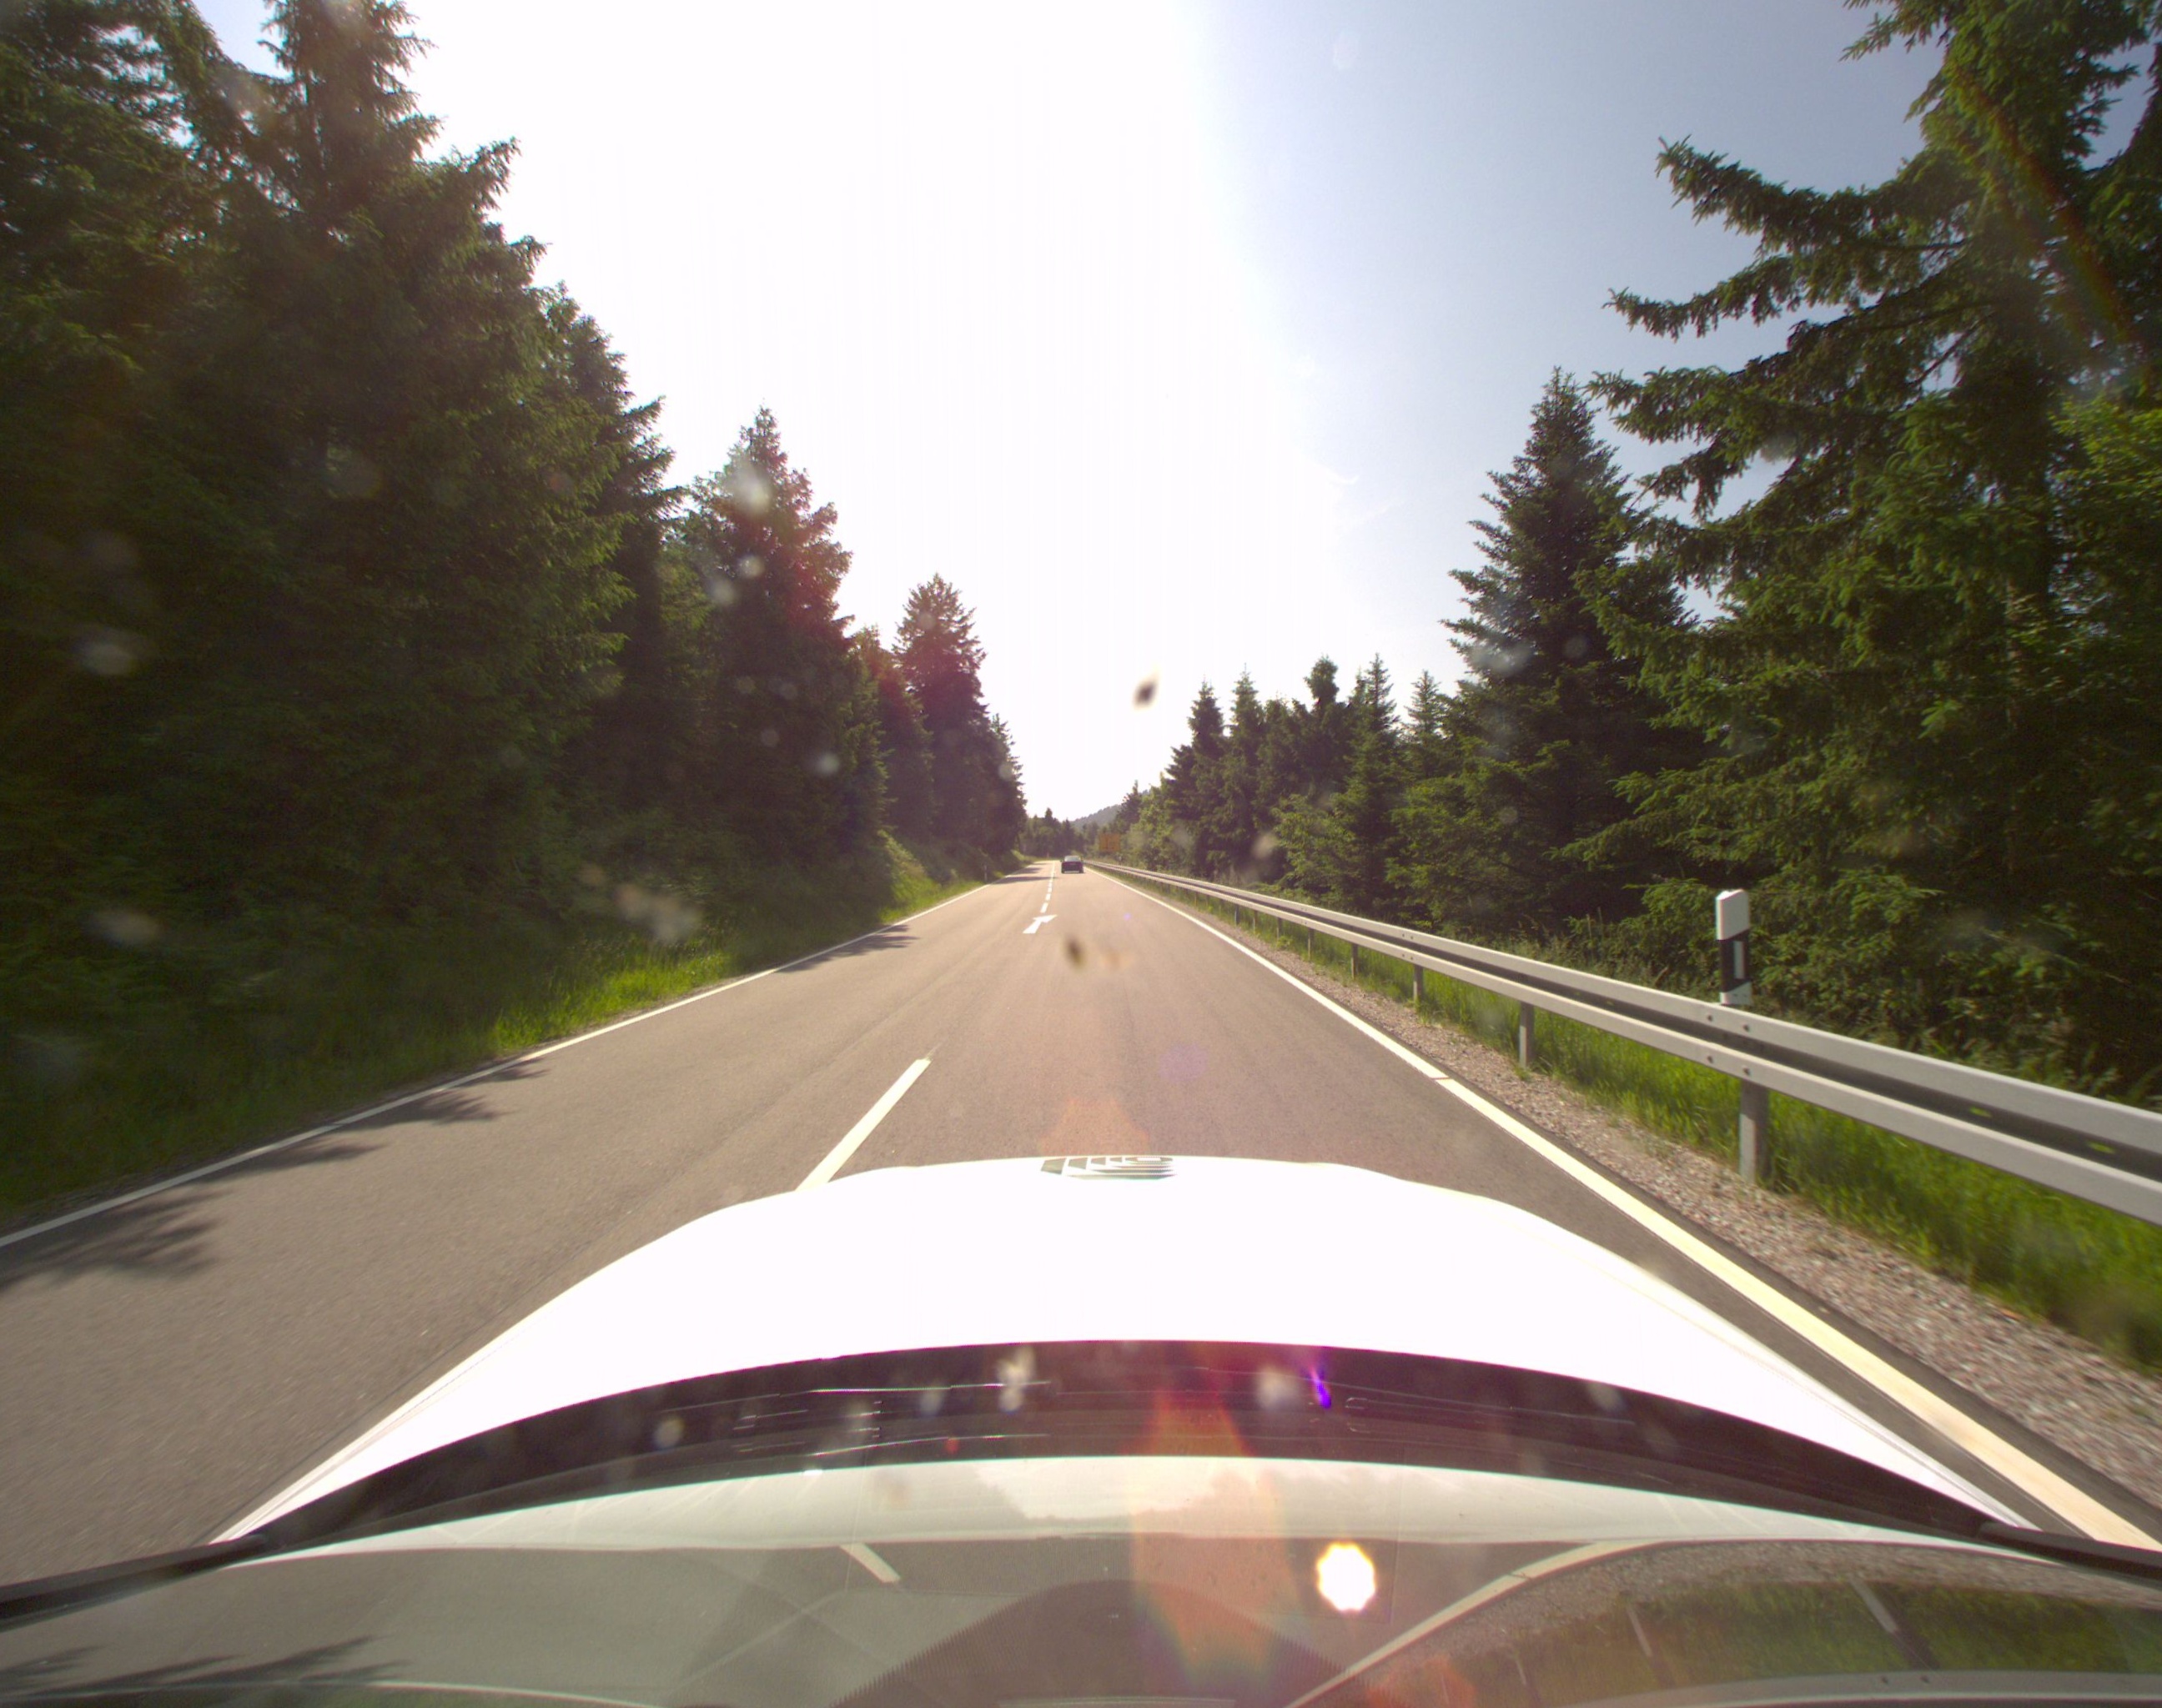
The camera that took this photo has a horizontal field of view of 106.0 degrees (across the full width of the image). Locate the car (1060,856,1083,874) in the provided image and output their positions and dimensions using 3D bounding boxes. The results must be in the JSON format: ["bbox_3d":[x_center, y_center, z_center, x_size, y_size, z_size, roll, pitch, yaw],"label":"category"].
[{"bbox_3d":[-0.756,0.899,67.957,1.770,1.442,3.708,-3,0,0],"label":"car"}]
